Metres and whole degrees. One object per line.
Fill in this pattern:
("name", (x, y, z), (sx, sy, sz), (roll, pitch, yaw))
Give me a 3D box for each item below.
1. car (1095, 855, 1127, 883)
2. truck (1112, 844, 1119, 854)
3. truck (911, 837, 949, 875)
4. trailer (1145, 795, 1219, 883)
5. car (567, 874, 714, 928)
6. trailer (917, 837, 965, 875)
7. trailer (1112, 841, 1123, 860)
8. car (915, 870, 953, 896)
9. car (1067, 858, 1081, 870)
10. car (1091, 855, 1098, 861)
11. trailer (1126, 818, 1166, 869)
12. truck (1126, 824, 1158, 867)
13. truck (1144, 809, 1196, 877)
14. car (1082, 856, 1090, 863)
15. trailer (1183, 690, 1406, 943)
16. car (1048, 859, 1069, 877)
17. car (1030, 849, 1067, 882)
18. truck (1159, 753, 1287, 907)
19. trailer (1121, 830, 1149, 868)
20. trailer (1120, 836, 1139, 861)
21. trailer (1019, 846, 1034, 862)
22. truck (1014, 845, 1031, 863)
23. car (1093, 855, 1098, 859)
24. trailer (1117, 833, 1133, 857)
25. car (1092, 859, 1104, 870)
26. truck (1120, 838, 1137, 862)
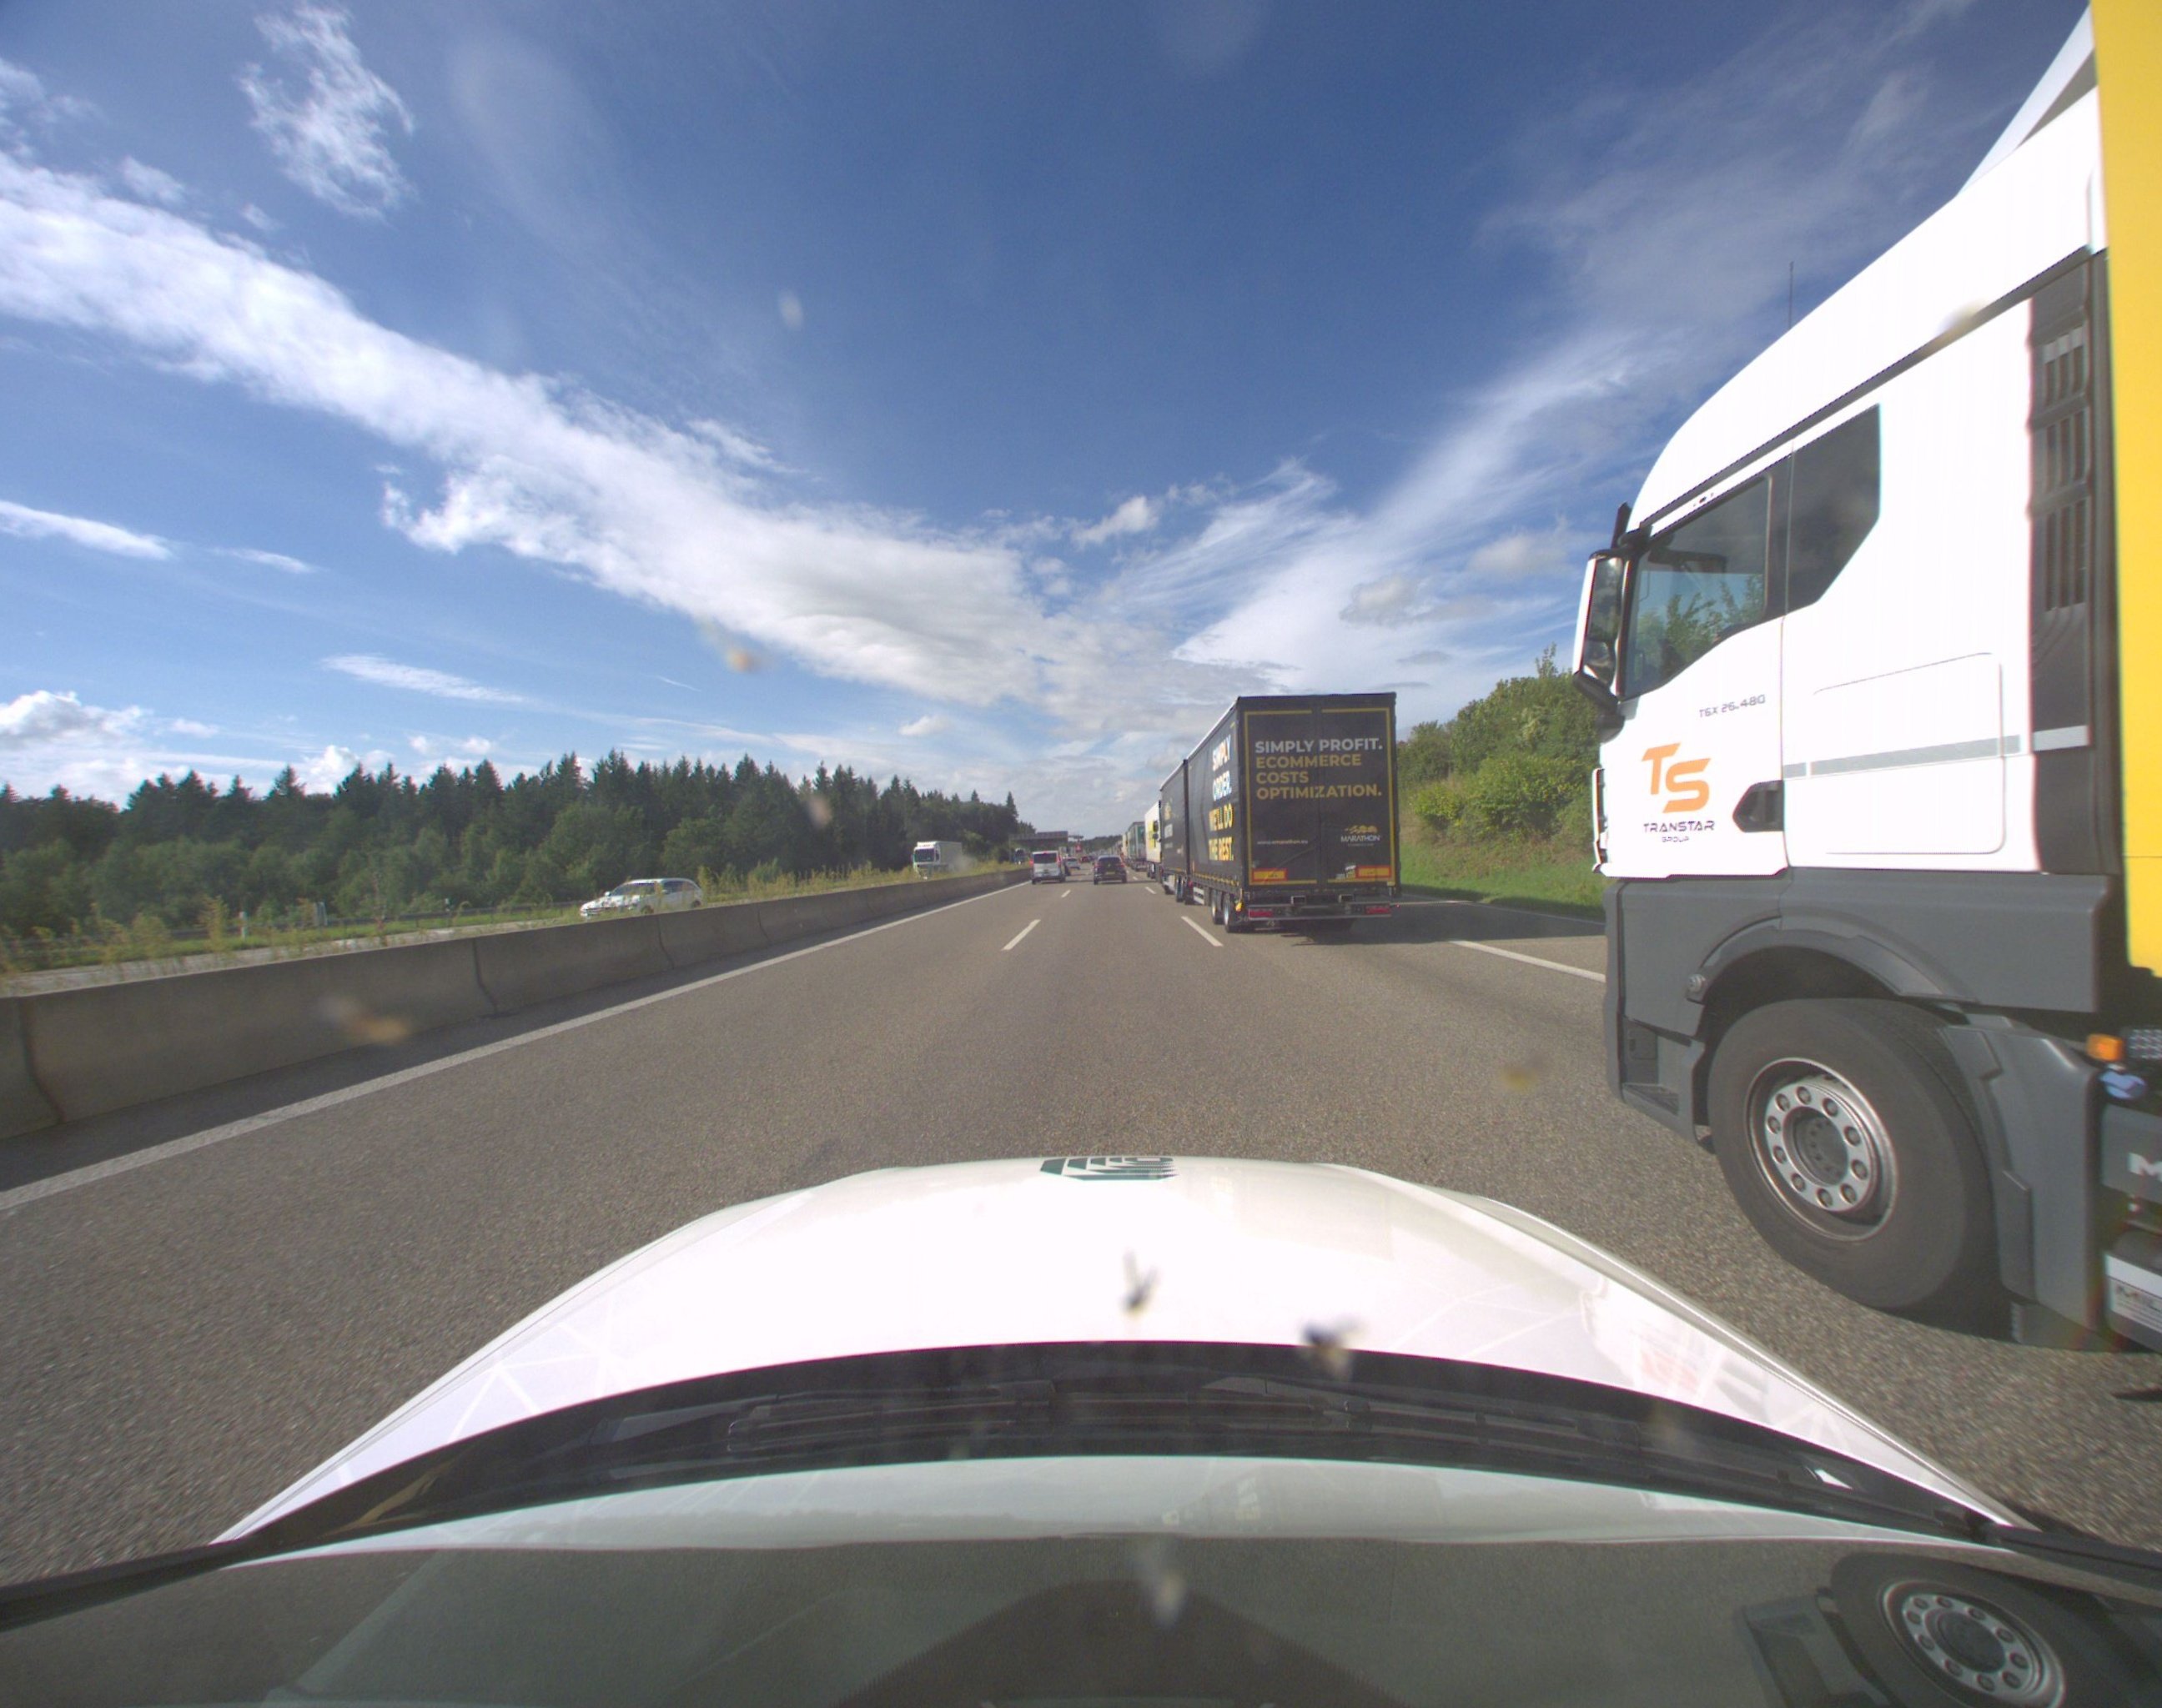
("car", (1.650, 0.803, 44.885), (1.690, 1.483, 4.161), (0, 0, 2))
("truck", (10.710, -1.449, 254.268), (1.986, 3.052, 4.984), (0, 0, 2))
("truck", (-16.382, 0.228, 88.626), (2.809, 3.976, 5.834), (-2, 0, 1))
("trailer", (5.155, -0.654, 43.906), (2.780, 3.939, 13.077), (-2, 0, 3))
("car", (-13.928, 1.425, 26.142), (1.911, 1.476, 4.935), (0, 0, 1))
("trailer", (-16.225, 0.274, 95.342), (2.822, 3.992, 13.552), (-2, 0, 1))
("trailer", (8.266, -0.755, 184.050), (2.141, 4.259, 8.445), (-3, -1, 2))
("car", (-10.341, 2.004, 57.589), (1.809, 1.694, 4.252), (0, 0, 1))
("car", (-0.771, 1.159, 94.596), (1.494, 1.396, 3.477), (0, 0, 2))
("car", (2.987, 0.928, 179.033), (1.429, 1.310, 3.534), (0, 0, 1))
("trailer", (5.518, -0.797, 71.222), (2.651, 3.869, 13.400), (-3, 0, 2))
("truck", (5.787, -0.764, 78.313), (2.637, 3.869, 6.999), (-3, -1, 2))
("truck", (5.484, -0.614, 51.125), (2.791, 3.939, 5.829), (-2, -1, 2))
("car", (0.886, 0.979, 154.506), (1.429, 1.310, 3.534), (0, 0, 1))
("trailer", (3.899, -0.607, 17.130), (2.705, 3.960, 8.715), (0, 0, 2))
("car", (-1.866, 1.140, 67.538), (1.494, 1.396, 3.477), (-1, 0, 2))
("car", (-1.970, 0.713, 51.041), (1.925, 1.979, 5.100), (0, 0, 2))
("truck", (4.223, -0.604, 26.543), (2.730, 4.038, 10.207), (0, 0, 2))
("trailer", (6.404, -0.584, 97.845), (2.693, 4.081, 12.950), (-4, 0, 2))
("trailer", (7.524, -0.789, 127.079), (2.531, 3.653, 10.631), (-3, 0, 2))
("trailer", (-13.195, 0.069, 198.360), (2.789, 3.528, 8.956), (-3, 0, 1))
("truck", (-13.430, 0.041, 188.272), (2.821, 3.689, 11.135), (-3, 0, 1))
("car", (4.387, 0.955, 242.096), (1.356, 1.301, 3.085), (0, 0, 2))
("trailer", (8.600, -1.659, 159.996), (2.791, 4.244, 11.063), (-4, -1, 3))
("car", (2.311, 1.379, 108.846), (1.576, 1.396, 3.208), (0, 0, 1))
("truck", (7.754, -0.613, 133.731), (2.524, 3.584, 6.732), (-3, 0, 2))
